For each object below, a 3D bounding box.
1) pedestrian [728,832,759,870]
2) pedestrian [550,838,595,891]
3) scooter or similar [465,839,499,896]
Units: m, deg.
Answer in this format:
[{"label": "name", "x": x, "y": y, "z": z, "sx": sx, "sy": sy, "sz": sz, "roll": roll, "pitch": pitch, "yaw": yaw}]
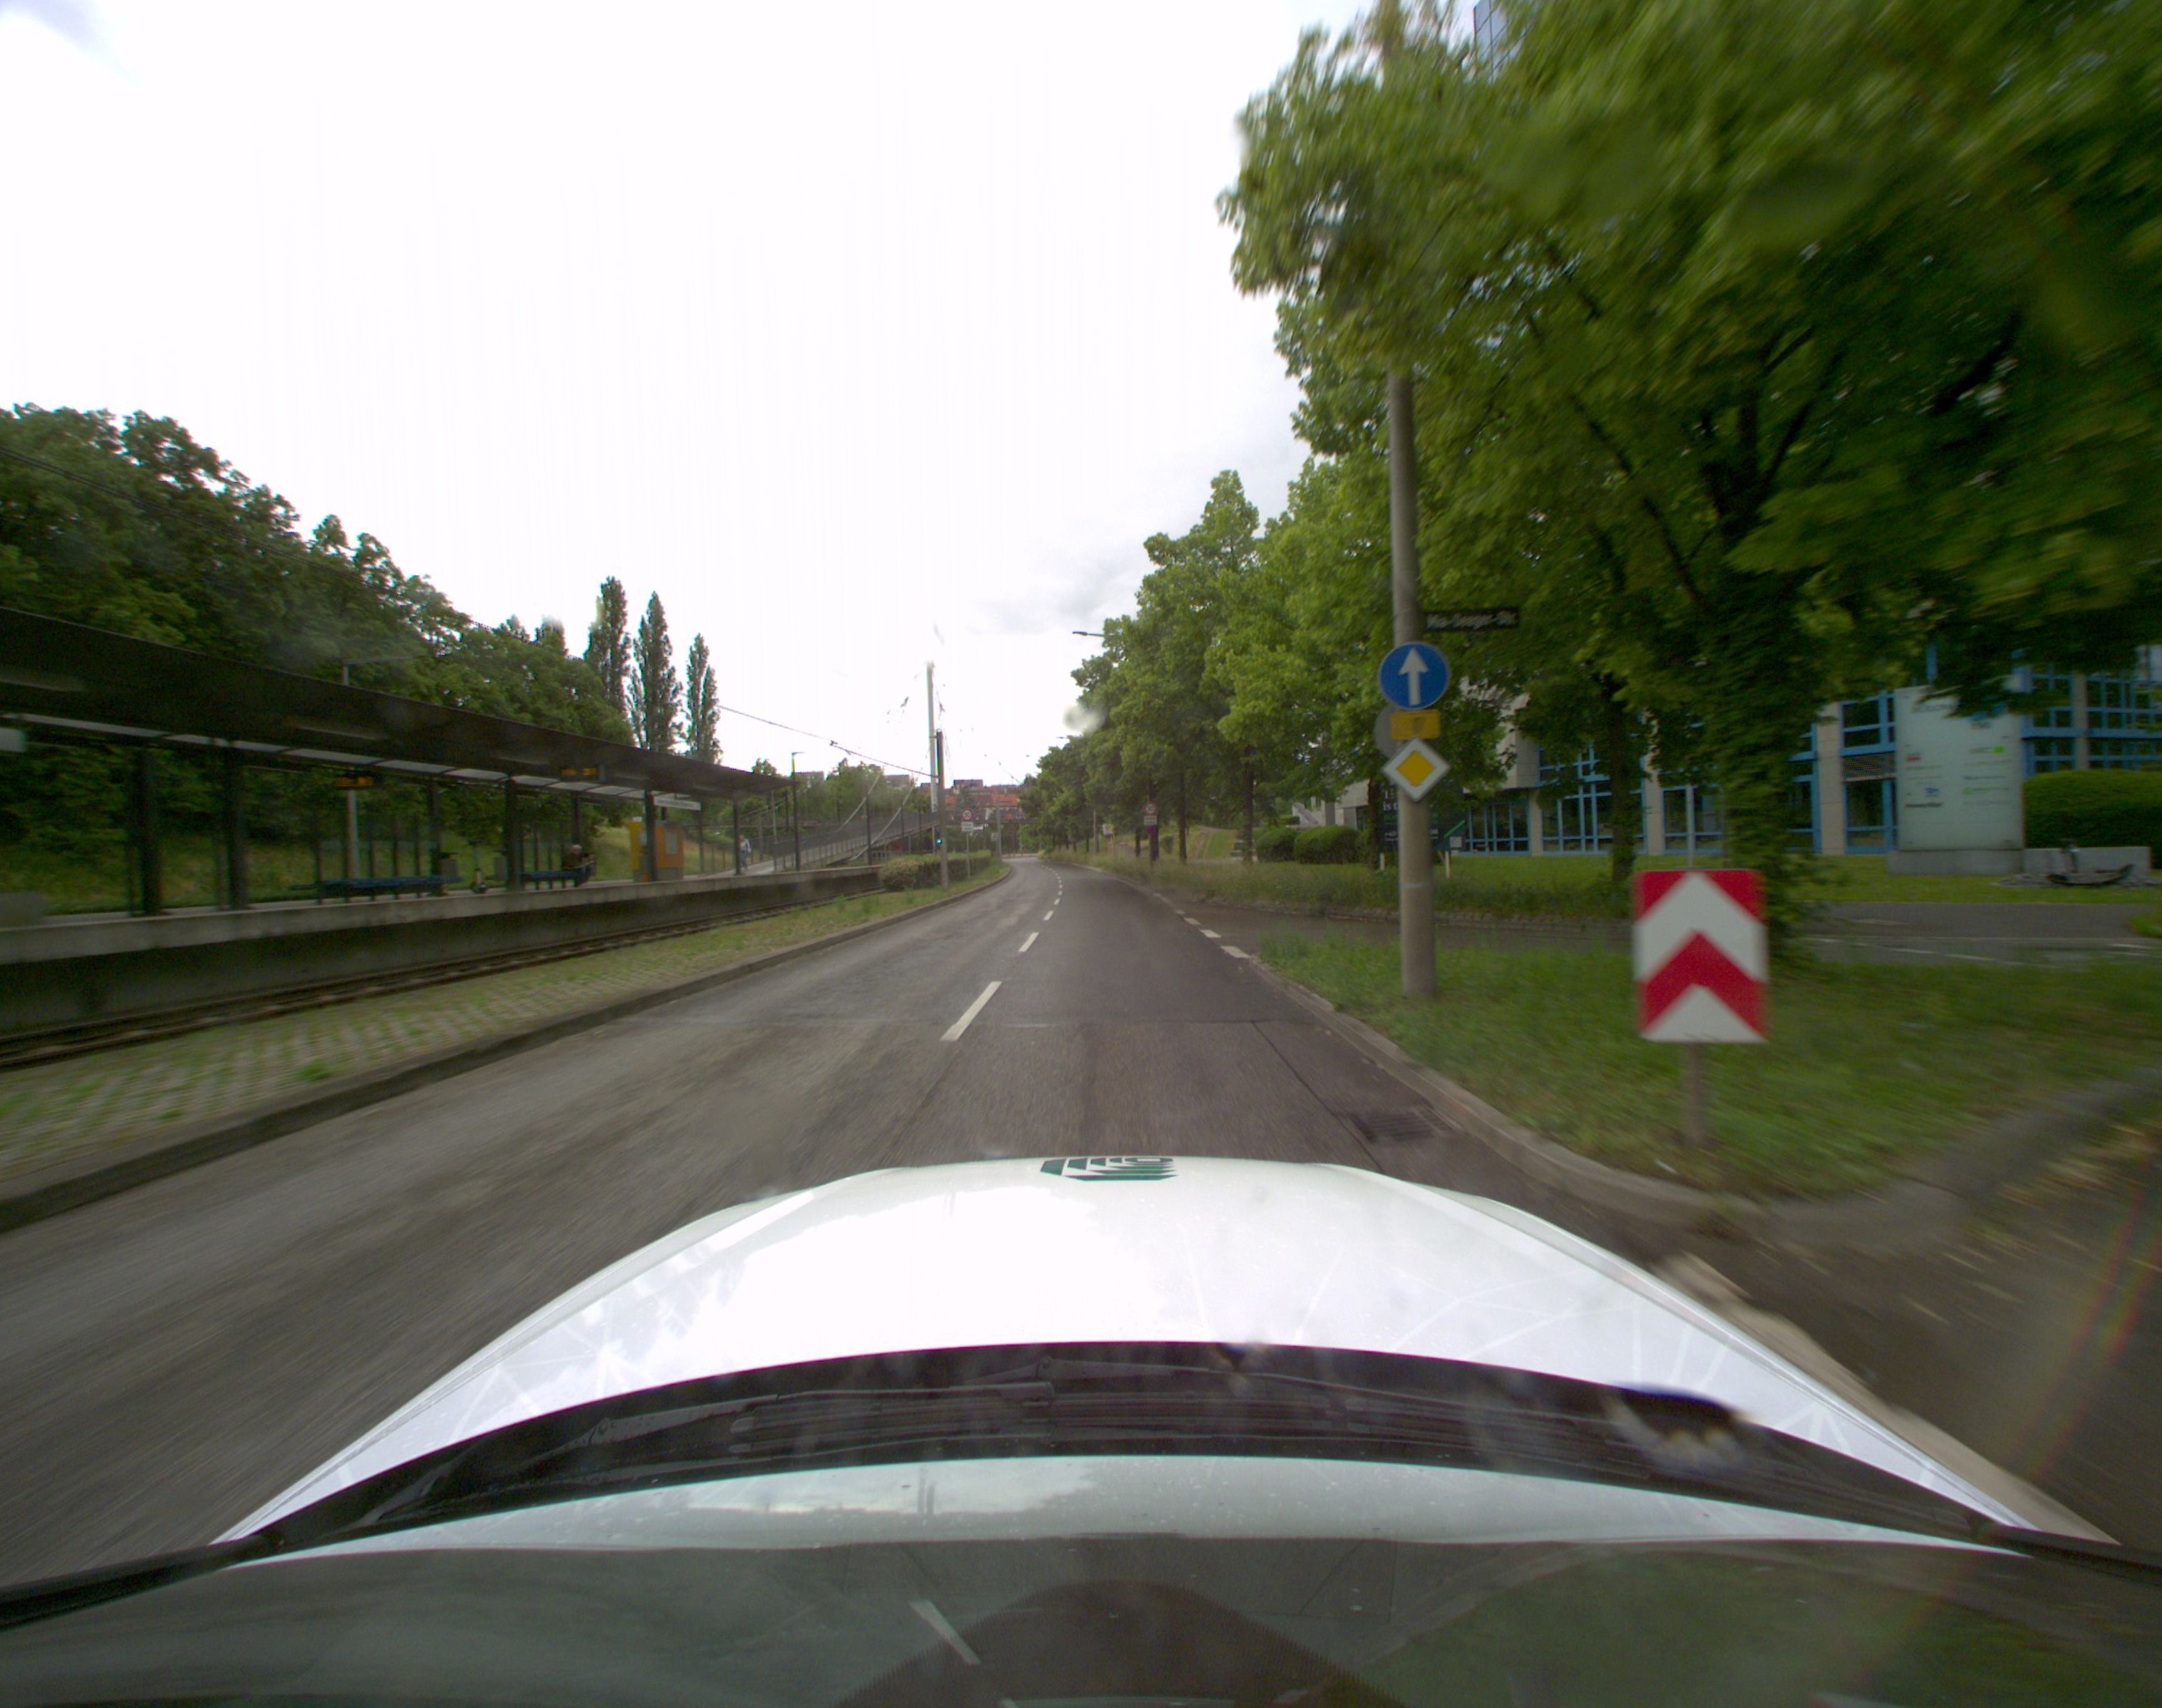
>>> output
[{"label": "pedestrian", "x": -14.773, "y": -0.133, "z": 35.662, "sx": 0.933, "sy": 1.611, "sz": 1.026, "roll": -2, "pitch": 0, "yaw": -3}, {"label": "pedestrian", "x": -13.555, "y": 0.279, "z": 21.733, "sx": 0.751, "sy": 1.355, "sz": 0.691, "roll": -2, "pitch": 0, "yaw": -3}, {"label": "scooter or similar", "x": -13.173, "y": 0.296, "z": 17.905, "sx": 1.284, "sy": 1.218, "sz": 0.382, "roll": -1, "pitch": -2, "yaw": 44}]
